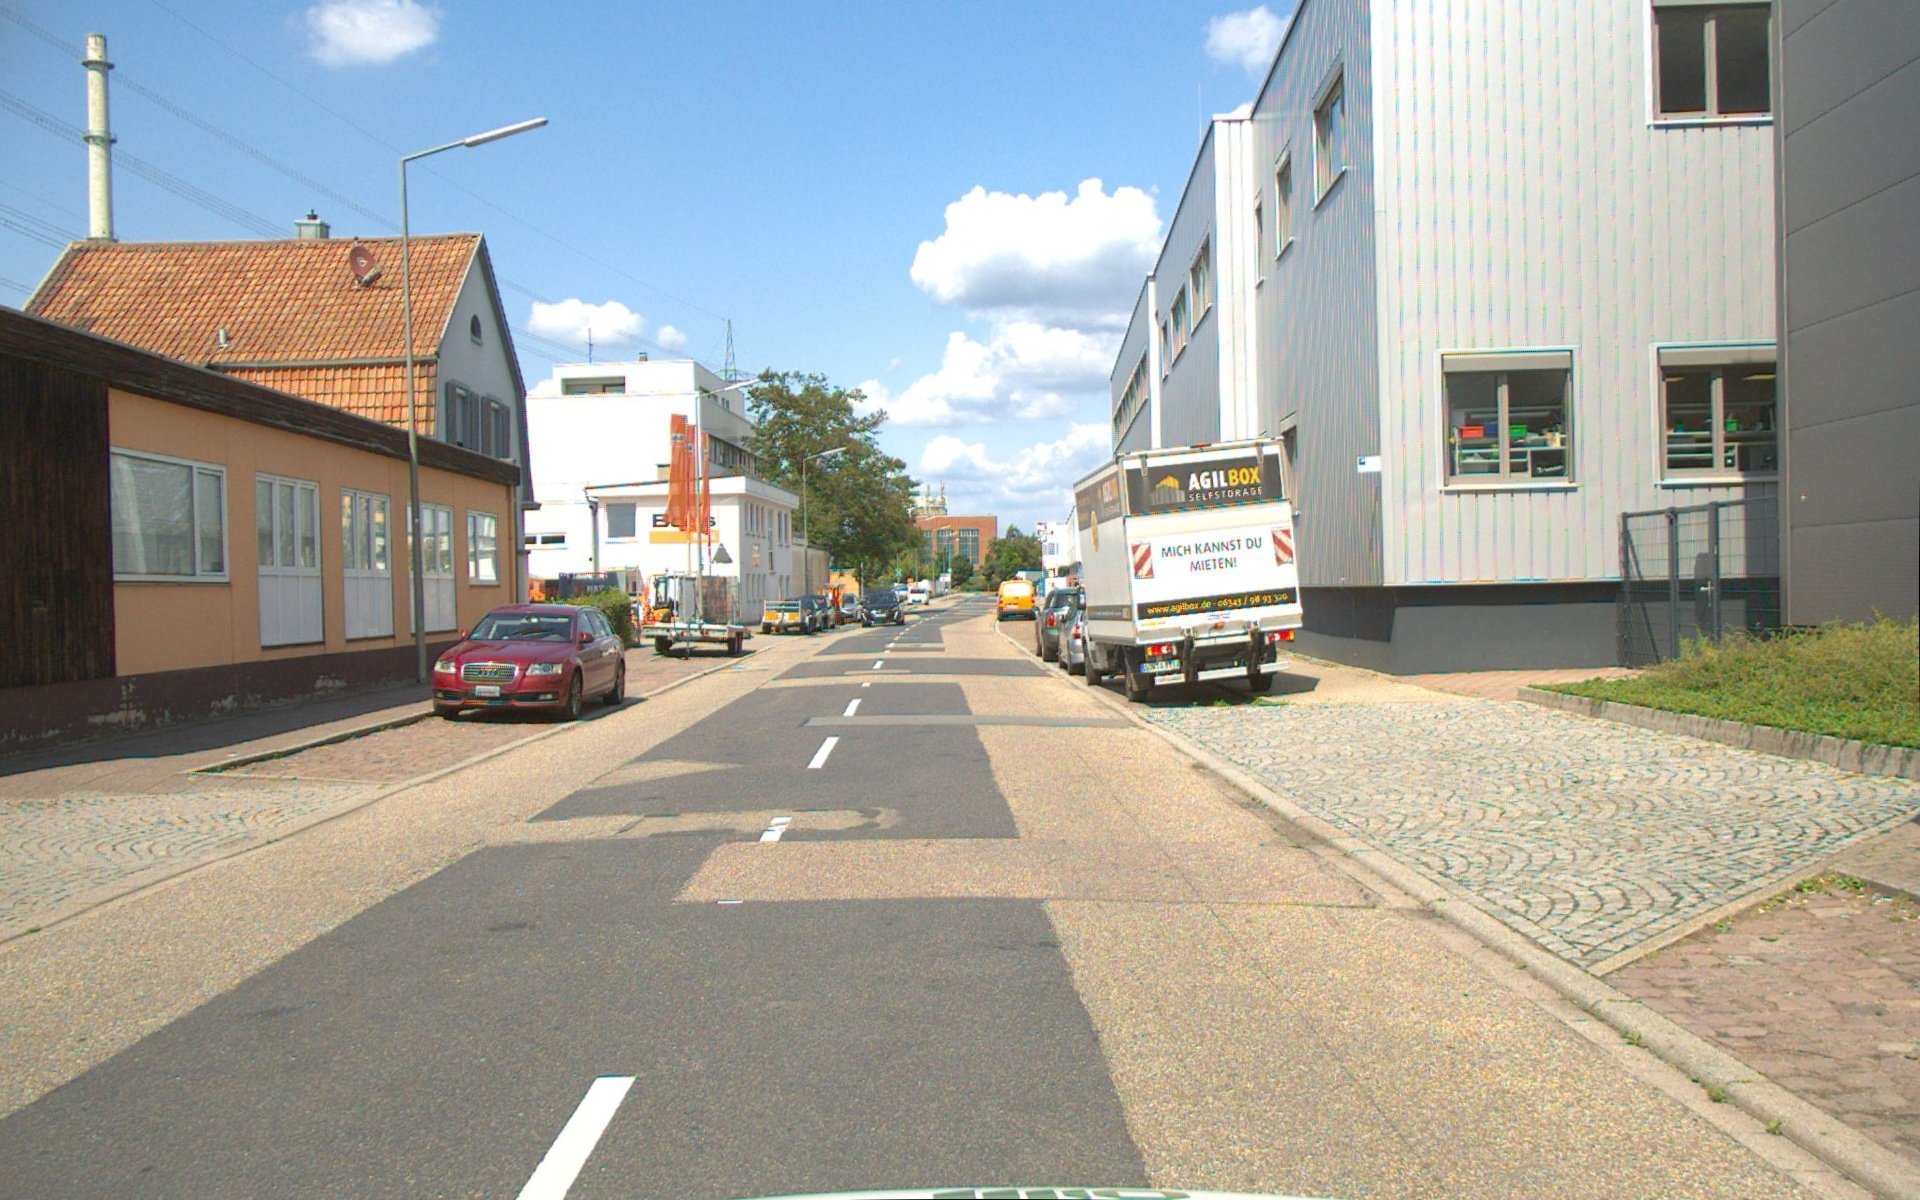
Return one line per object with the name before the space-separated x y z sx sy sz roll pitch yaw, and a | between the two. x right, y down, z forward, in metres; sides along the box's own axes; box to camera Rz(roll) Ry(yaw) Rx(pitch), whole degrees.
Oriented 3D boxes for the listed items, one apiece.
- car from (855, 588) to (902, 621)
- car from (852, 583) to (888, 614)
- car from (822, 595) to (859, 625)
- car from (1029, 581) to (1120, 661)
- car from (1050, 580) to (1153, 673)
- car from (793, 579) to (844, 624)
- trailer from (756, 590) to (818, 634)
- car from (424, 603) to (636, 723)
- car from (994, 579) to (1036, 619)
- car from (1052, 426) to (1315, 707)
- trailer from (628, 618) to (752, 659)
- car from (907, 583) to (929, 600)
car | -3.472 0.193 71.177 1.879 1.307 3.613 -2 0 -2
car | -5.502 -0.095 101.482 1.882 1.825 4.001 0 0 1
car | -6.021 0.510 83.748 1.634 1.473 3.453 0 0 -1
car | 2.492 0.442 36.808 1.732 1.640 3.873 -2 0 0
car | 2.638 0.459 31.547 1.535 1.601 4.068 -2 0 -1
car | -6.668 0.058 78.224 1.952 2.049 4.001 0 0 1
trailer | -6.495 0.429 62.627 1.953 1.584 4.252 -1 0 -1
car | -5.791 0.789 22.862 1.726 1.473 4.740 0 0 -1
car | 2.611 -0.051 78.976 1.900 1.772 4.377 -2 0 1
car | 3.053 -0.436 24.462 2.342 3.421 6.640 -4 0 -4
trailer | -6.693 0.930 41.624 2.314 0.908 5.567 0 0 -1
car | -3.935 -0.768 155.271 1.772 1.591 4.001 0 0 3
